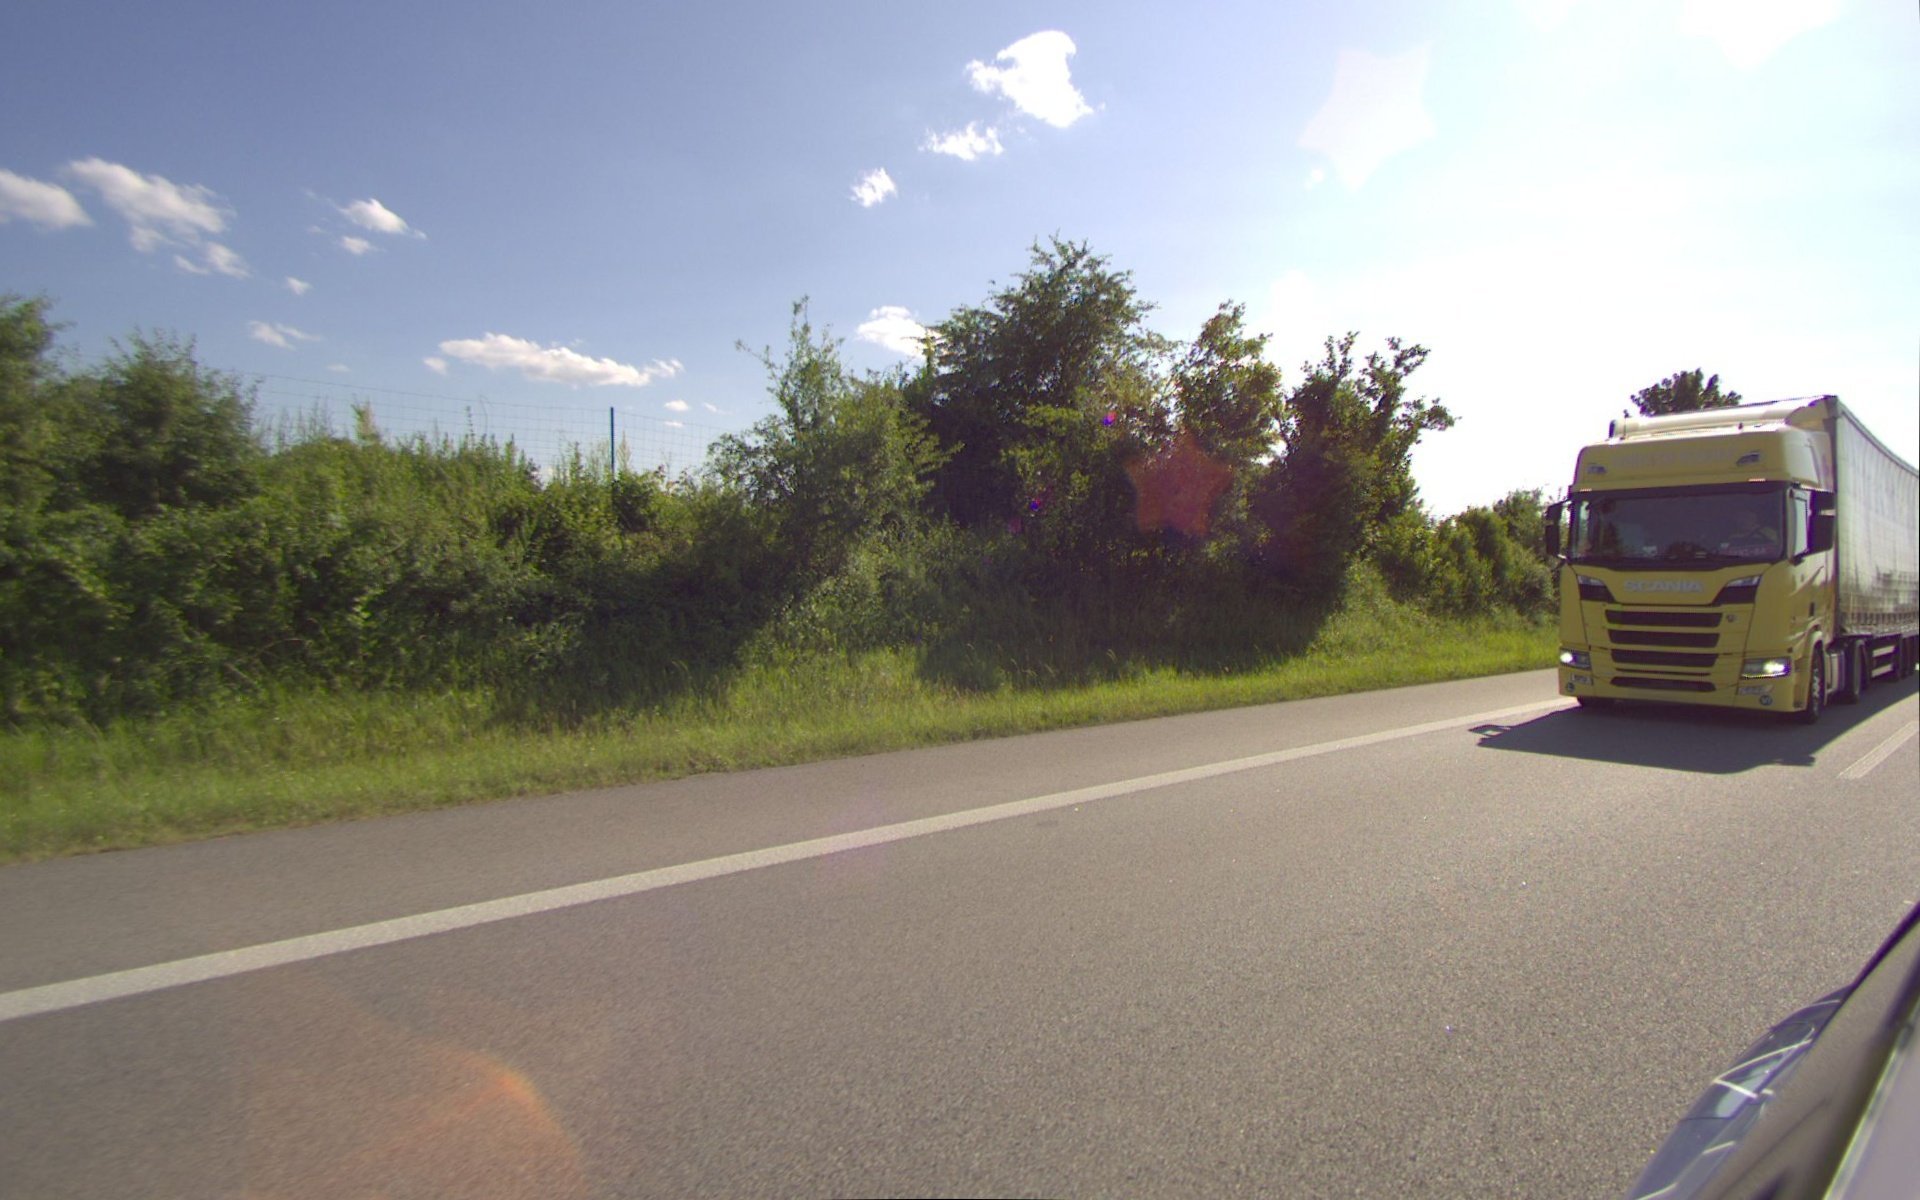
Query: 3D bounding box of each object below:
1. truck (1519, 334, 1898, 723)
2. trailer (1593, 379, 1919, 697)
[{"bbox_3d":[10.660,-0.796,14.166,6.281,4.166,3.172,-1,0,-43],"label":"truck"},{"bbox_3d":[15.538,-0.862,18.599,12.960,4.111,3.189,-1,0,-42],"label":"trailer"}]
